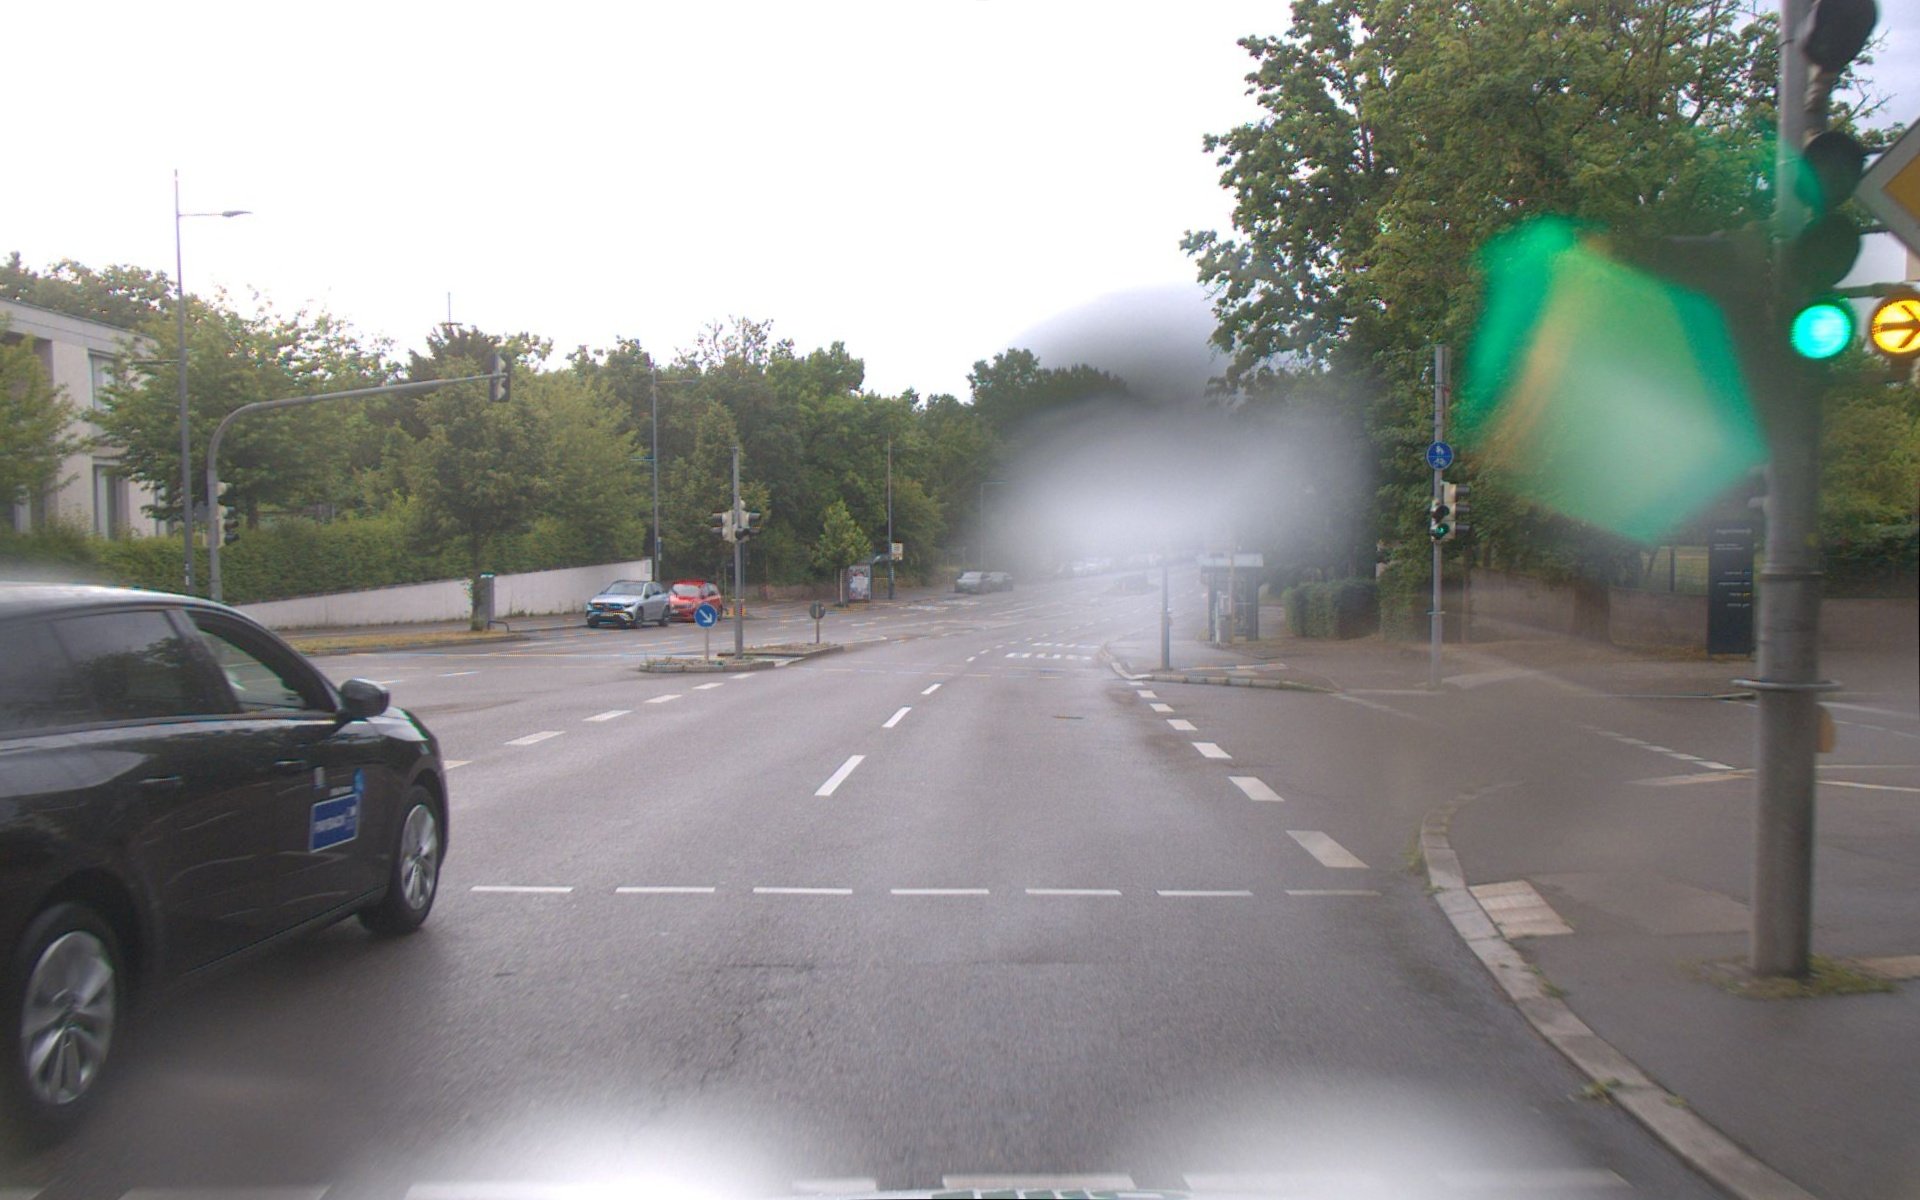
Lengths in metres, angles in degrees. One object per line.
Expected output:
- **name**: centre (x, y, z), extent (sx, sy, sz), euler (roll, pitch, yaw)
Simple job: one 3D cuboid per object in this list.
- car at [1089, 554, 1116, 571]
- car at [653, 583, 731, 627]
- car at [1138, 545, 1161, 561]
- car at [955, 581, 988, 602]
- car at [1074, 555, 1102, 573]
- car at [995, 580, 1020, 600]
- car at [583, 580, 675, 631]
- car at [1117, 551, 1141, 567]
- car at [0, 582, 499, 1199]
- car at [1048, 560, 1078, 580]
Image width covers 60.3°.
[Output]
- **car**: centre (14.898, -3.918, 172.696), extent (1.915, 1.511, 4.004), euler (2, 5, 17)
- **car**: centre (-10.794, 0.171, 66.937), extent (1.834, 1.602, 4.227), euler (2, 1, 9)
- **car**: centre (22.187, -5.508, 193.879), extent (1.915, 1.646, 4.004), euler (2, 5, 17)
- **car**: centre (0.866, -0.644, 120.533), extent (1.676, 1.486, 3.754), euler (0, 1, 13)
- **car**: centre (12.691, -3.584, 164.387), extent (1.915, 1.511, 4.004), euler (2, 5, 17)
- **car**: centre (3.605, -0.764, 126.313), extent (1.386, 1.449, 3.125), euler (0, 1, 12)
- **car**: centre (-11.880, 0.163, 59.616), extent (1.813, 1.668, 4.098), euler (2, 2, 11)
- **car**: centre (18.883, -4.611, 184.530), extent (1.915, 1.511, 4.004), euler (2, 5, 17)
- **car**: centre (-3.090, 0.684, 5.406), extent (1.762, 1.455, 4.521), euler (1, 0, 1)
- **car**: centre (9.631, -2.827, 154.839), extent (1.915, 1.511, 4.004), euler (2, 5, 17)
